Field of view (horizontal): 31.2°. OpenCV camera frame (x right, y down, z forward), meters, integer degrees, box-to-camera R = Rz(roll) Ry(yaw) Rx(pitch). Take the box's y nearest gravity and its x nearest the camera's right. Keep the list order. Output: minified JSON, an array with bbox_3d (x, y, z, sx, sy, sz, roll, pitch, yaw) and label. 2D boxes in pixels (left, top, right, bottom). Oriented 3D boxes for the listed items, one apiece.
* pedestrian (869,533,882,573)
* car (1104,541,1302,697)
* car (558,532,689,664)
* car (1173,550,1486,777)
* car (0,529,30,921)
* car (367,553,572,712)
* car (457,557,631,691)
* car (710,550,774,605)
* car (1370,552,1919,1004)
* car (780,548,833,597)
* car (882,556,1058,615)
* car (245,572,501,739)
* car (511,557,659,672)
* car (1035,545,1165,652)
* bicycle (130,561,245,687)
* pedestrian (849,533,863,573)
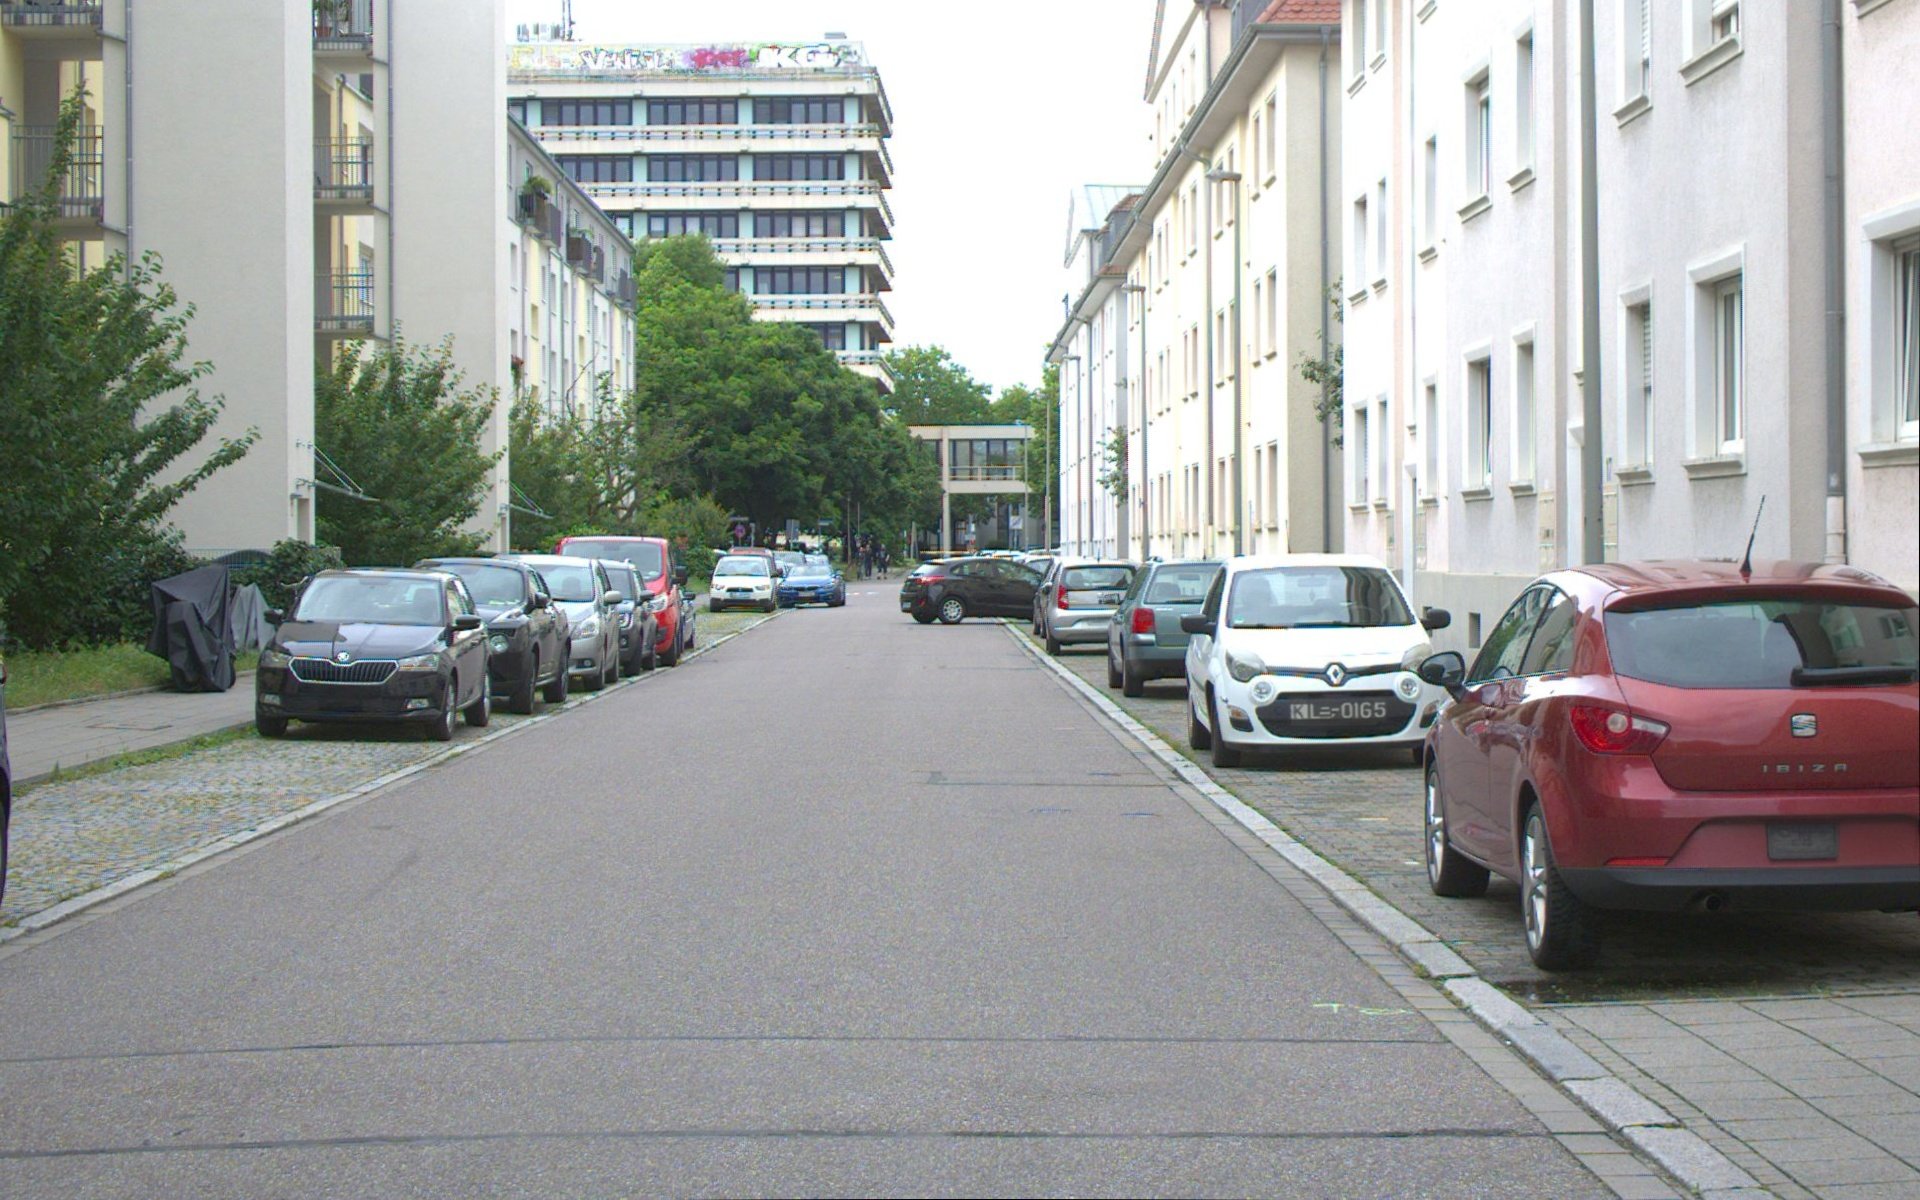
[{"bbox_3d":[-4.324,-2.390,175.997,0.629,2.007,0.683,2,1,-1],"label":"pedestrian"},{"bbox_3d":[2.573,0.165,37.116,1.819,1.571,3.753,0,1,-1],"label":"car"},{"bbox_3d":[-5.116,-0.066,52.619,1.671,1.931,3.742,0,1,-1],"label":"car"},{"bbox_3d":[2.603,0.402,25.010,1.819,1.499,3.753,0,1,-1],"label":"car"},{"bbox_3d":[-4.823,0.548,12.666,1.769,1.637,4.355,0,1,-2],"label":"car"},{"bbox_3d":[-5.135,0.305,36.348,1.671,1.558,3.664,0,1,-1],"label":"car"},{"bbox_3d":[-5.073,0.252,42.364,1.671,1.520,4.253,0,1,-1],"label":"car"},{"bbox_3d":[-5.907,-0.624,93.412,1.539,1.445,3.742,0,1,-1],"label":"car"},{"bbox_3d":[2.741,0.559,13.357,1.670,1.415,4.000,-2,1,-2],"label":"car"},{"bbox_3d":[-4.662,-0.835,104.194,1.539,1.445,3.742,0,1,-3],"label":"car"},{"bbox_3d":[0.224,-0.313,74.045,3.729,1.210,1.544,0,1,1],"label":"car"},{"bbox_3d":[-5.165,0.450,30.665,1.671,1.347,3.817,0,1,-1],"label":"car"},{"bbox_3d":[-5.142,0.171,47.516,1.671,1.482,3.742,0,1,-1],"label":"car"},{"bbox_3d":[2.149,-0.052,53.752,1.819,1.571,3.884,0,1,-1],"label":"car"},{"bbox_3d":[-8.119,0.233,36.216,0.871,1.284,1.893,0,1,-3],"label":"bicycle"},{"bbox_3d":[-5.258,-2.366,174.219,0.629,2.007,0.683,2,1,-1],"label":"pedestrian"}]
